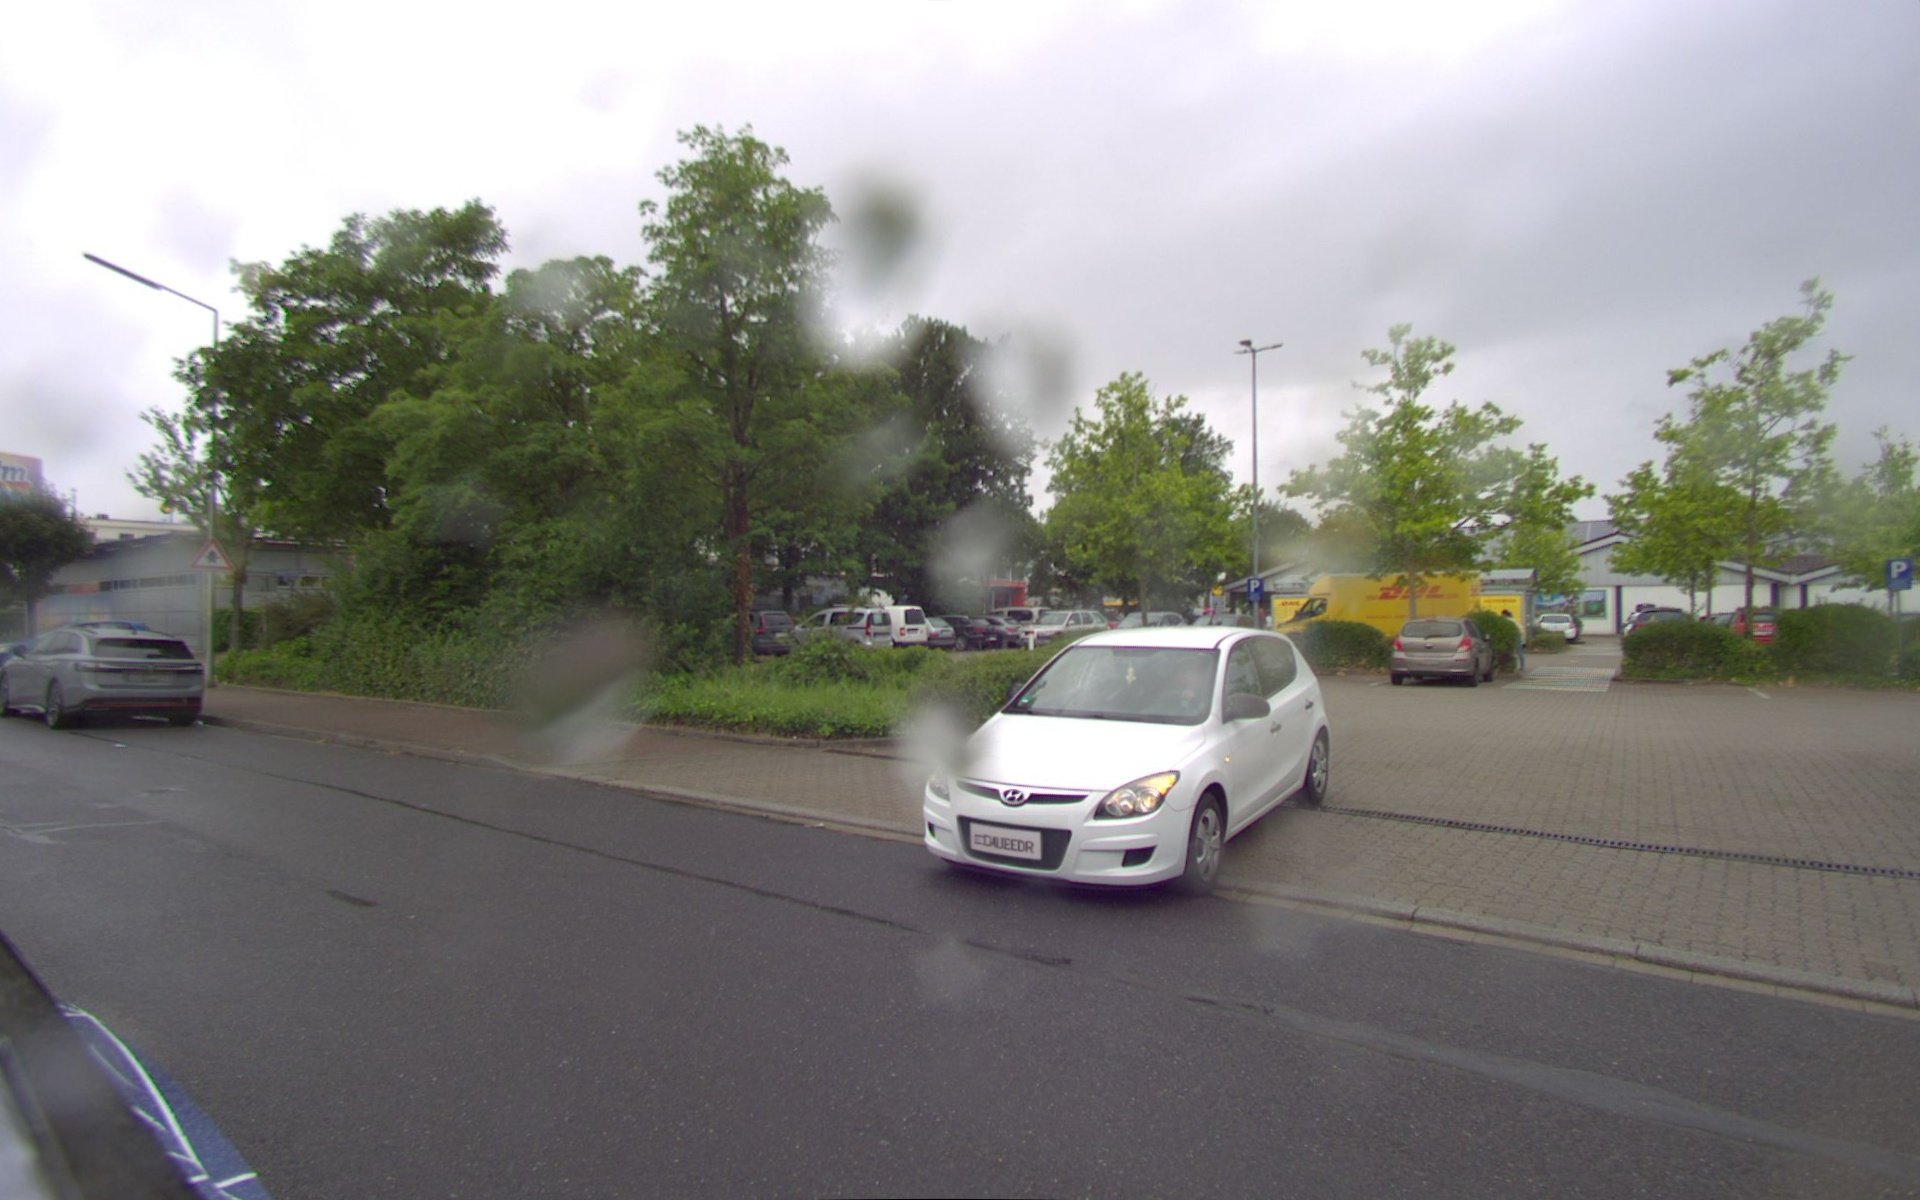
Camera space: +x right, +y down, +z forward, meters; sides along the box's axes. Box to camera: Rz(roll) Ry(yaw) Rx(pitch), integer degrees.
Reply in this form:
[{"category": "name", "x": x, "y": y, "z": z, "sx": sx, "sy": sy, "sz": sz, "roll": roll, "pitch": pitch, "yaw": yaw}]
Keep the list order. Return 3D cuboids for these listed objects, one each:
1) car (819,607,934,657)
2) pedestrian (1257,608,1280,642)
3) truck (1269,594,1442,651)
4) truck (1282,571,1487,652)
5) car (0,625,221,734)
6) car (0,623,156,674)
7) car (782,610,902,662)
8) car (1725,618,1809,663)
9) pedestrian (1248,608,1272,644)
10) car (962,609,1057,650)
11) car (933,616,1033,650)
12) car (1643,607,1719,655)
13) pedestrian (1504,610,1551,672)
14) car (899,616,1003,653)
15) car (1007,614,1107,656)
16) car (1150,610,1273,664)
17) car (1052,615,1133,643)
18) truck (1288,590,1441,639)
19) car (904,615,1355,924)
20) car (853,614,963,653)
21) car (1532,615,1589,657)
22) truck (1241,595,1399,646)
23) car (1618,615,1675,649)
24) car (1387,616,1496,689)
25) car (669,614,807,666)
[{"category": "car", "x": -3.206, "y": 1.204, "z": 38.599, "sx": 3.983, "sy": 1.807, "sz": 1.980, "roll": -1, "pitch": -1, "yaw": 30}, {"category": "pedestrian", "x": 17.964, "y": 1.448, "z": 58.963, "sx": 0.910, "sy": 1.977, "sz": 1.292, "roll": -1, "pitch": -2, "yaw": 35}, {"category": "truck", "x": 15.633, "y": 0.903, "z": 40.208, "sx": 6.117, "sy": 2.110, "sz": 1.977, "roll": -1, "pitch": -2, "yaw": 34}, {"category": "truck", "x": 14.901, "y": 0.444, "z": 35.774, "sx": 6.385, "sy": 2.621, "sz": 1.975, "roll": -1, "pitch": -2, "yaw": 37}, {"category": "car", "x": -14.155, "y": 1.239, "z": 16.565, "sx": 4.736, "sy": 1.540, "sz": 1.793, "roll": -1, "pitch": -5, "yaw": 35}, {"category": "car", "x": -27.207, "y": 1.450, "z": 30.802, "sx": 1.732, "sy": 1.452, "sz": 3.953, "roll": -2, "pitch": -2, "yaw": 34}, {"category": "car", "x": -4.322, "y": 1.293, "z": 36.963, "sx": 3.983, "sy": 1.807, "sz": 1.980, "roll": -1, "pitch": -1, "yaw": 30}, {"category": "car", "x": 26.280, "y": 1.276, "z": 33.069, "sx": 1.997, "sy": 1.356, "sz": 3.950, "roll": -1, "pitch": -2, "yaw": 37}, {"category": "pedestrian", "x": 16.617, "y": 1.452, "z": 55.991, "sx": 0.910, "sy": 1.977, "sz": 1.292, "roll": -1, "pitch": -2, "yaw": 35}, {"category": "car", "x": 2.279, "y": 1.358, "z": 46.750, "sx": 3.983, "sy": 1.829, "sz": 1.980, "roll": -1, "pitch": -1, "yaw": 30}, {"category": "car", "x": 1.014, "y": 1.431, "z": 44.608, "sx": 3.983, "sy": 1.431, "sz": 1.980, "roll": -1, "pitch": -1, "yaw": 30}, {"category": "car", "x": 24.556, "y": 1.021, "z": 34.422, "sx": 1.997, "sy": 1.533, "sz": 3.950, "roll": -1, "pitch": -2, "yaw": 37}, {"category": "pedestrian", "x": 15.271, "y": 1.091, "z": 27.263, "sx": 0.757, "sy": 1.646, "sz": 0.779, "roll": 0, "pitch": -1, "yaw": -6}, {"category": "car", "x": -0.385, "y": 1.437, "z": 42.748, "sx": 3.983, "sy": 1.497, "sz": 1.980, "roll": -1, "pitch": -1, "yaw": 30}, {"category": "car", "x": 3.838, "y": 1.323, "z": 39.385, "sx": 2.022, "sy": 1.562, "sz": 4.243, "roll": -1, "pitch": -1, "yaw": 35}, {"category": "car", "x": 7.305, "y": 1.018, "z": 29.153, "sx": 1.998, "sy": 1.431, "sz": 3.948, "roll": -1, "pitch": -2, "yaw": 38}, {"category": "car", "x": 7.253, "y": 1.601, "z": 55.607, "sx": 3.983, "sy": 1.497, "sz": 1.980, "roll": -1, "pitch": -1, "yaw": 30}, {"category": "truck", "x": 18.079, "y": 0.664, "z": 45.436, "sx": 6.117, "sy": 2.076, "sz": 1.977, "roll": -1, "pitch": -2, "yaw": 34}, {"category": "car", "x": 1.500, "y": 0.878, "z": 7.245, "sx": 1.707, "sy": 1.471, "sz": 4.157, "roll": -1, "pitch": -1, "yaw": 32}, {"category": "car", "x": -2.096, "y": 1.333, "z": 40.655, "sx": 3.983, "sy": 1.497, "sz": 1.980, "roll": -1, "pitch": -1, "yaw": 30}, {"category": "car", "x": 30.261, "y": 1.775, "z": 50.963, "sx": 1.997, "sy": 2.029, "sz": 3.949, "roll": -1, "pitch": -1, "yaw": 38}, {"category": "truck", "x": 15.344, "y": 0.888, "z": 43.337, "sx": 6.117, "sy": 2.076, "sz": 1.977, "roll": -1, "pitch": -2, "yaw": 34}, {"category": "car", "x": 32.669, "y": 1.490, "z": 48.116, "sx": 1.997, "sy": 1.533, "sz": 3.950, "roll": -1, "pitch": -2, "yaw": 37}, {"category": "car", "x": 10.886, "y": 1.115, "z": 22.726, "sx": 1.707, "sy": 1.471, "sz": 4.157, "roll": -1, "pitch": -2, "yaw": 32}, {"category": "car", "x": -7.126, "y": 1.259, "z": 32.482, "sx": 3.979, "sy": 1.586, "sz": 1.982, "roll": -1, "pitch": -1, "yaw": 27}]
